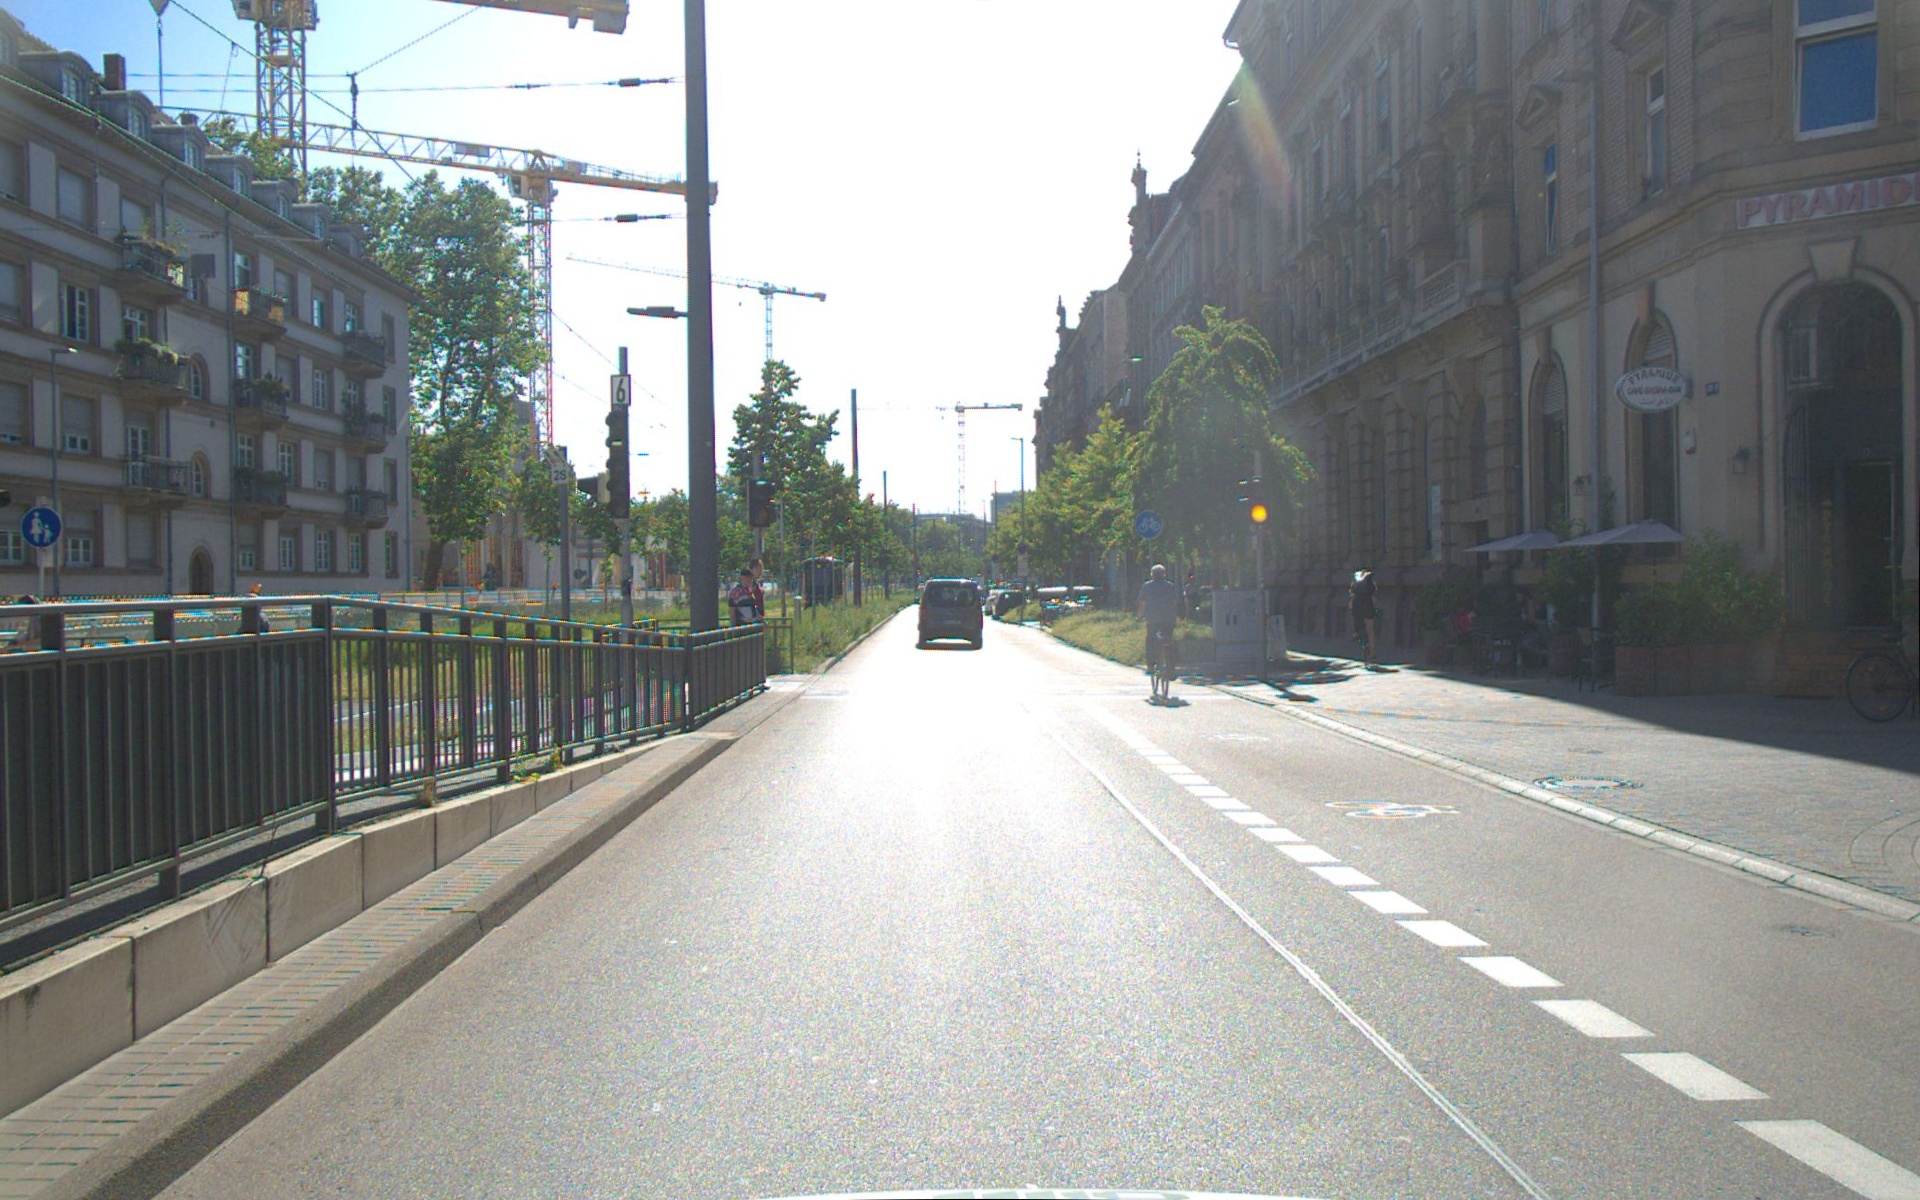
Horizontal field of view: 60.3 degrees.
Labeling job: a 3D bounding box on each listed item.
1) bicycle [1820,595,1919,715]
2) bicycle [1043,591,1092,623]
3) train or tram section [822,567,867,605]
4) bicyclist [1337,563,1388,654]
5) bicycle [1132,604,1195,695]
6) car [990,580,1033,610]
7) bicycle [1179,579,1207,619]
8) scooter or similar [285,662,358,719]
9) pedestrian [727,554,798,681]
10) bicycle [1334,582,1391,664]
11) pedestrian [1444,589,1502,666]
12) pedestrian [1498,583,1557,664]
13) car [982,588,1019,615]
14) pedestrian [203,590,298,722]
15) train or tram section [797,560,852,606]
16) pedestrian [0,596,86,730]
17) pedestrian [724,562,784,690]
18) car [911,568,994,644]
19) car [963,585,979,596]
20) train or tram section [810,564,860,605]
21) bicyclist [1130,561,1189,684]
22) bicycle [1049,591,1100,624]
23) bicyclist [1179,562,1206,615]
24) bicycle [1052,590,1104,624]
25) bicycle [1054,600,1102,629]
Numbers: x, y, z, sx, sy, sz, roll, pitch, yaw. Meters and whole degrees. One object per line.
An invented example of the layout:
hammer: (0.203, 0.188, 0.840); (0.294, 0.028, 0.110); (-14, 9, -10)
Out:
bicycle: (10.245, 0.571, 17.642); (1.779, 1.191, 0.654); (-1, 4, 2)
bicycle: (4.121, 0.270, 63.667); (1.757, 1.048, 0.527); (-5, 0, -2)
train or tram section: (-8.741, -0.991, 126.364); (2.700, 2.791, 9.863); (0, 0, 0)
bicyclist: (7.198, 0.146, 29.605); (0.646, 1.556, 0.801); (-5, 0, 5)
bicycle: (2.854, 0.673, 23.339); (0.589, 1.201, 1.868); (1, 0, -2)
car: (2.678, -0.271, 86.985); (1.987, 1.525, 4.653); (-1, 0, -1)
bicycle: (7.403, -0.042, 52.596); (0.571, 1.244, 1.899); (-1, 1, -1)
scooter or similar: (-7.838, 1.108, 20.304); (0.692, 0.662, 0.516); (0, 0, 0)
pedestrian: (-3.100, 0.262, 25.939); (1.055, 1.942, 0.652); (-1, 0, -8)
bicycle: (7.206, 0.386, 29.674); (0.602, 1.353, 1.901); (-5, 1, 5)
pedestrian: (8.267, 0.432, 26.662); (0.692, 1.198, 0.635); (-3, 0, -2)
pedestrian: (9.166, 0.370, 26.728); (0.692, 1.258, 0.635); (-3, 0, -2)
car: (2.391, 0.053, 99.335); (1.987, 1.525, 4.529); (-1, 0, -1)
pedestrian: (-8.563, 0.666, 19.996); (0.796, 1.563, 0.798); (0, 0, 0)
train or tram section: (-8.670, -1.051, 106.672); (2.700, 2.791, 9.863); (0, 0, 0)
pedestrian: (-11.099, 0.735, 19.756); (0.847, 1.563, 0.909); (0, 0, -1)
pedestrian: (-2.998, 0.367, 24.067); (0.848, 1.819, 0.969); (0, 0, -8)
car: (-0.248, 0.143, 46.239); (2.155, 1.960, 4.653); (-1, 0, -1)
car: (1.423, -1.269, 223.433); (1.987, 1.525, 4.330); (-1, 0, -1)
train or tram section: (-8.732, -1.021, 116.518); (2.700, 2.791, 9.863); (0, 0, 0)
bicyclist: (2.825, 0.309, 23.444); (0.670, 1.702, 0.922); (1, 0, -2)
bicycle: (4.177, 0.263, 60.549); (1.757, 1.048, 0.527); (-5, 0, -2)
bicyclist: (7.387, -0.376, 52.586); (0.653, 1.668, 0.960); (-1, 0, -1)
bicycle: (4.211, 0.259, 59.176); (1.757, 1.048, 0.527); (-5, 0, -2)
bicycle: (4.432, 0.528, 62.151); (1.756, 1.048, 0.527); (-1, 0, -2)
